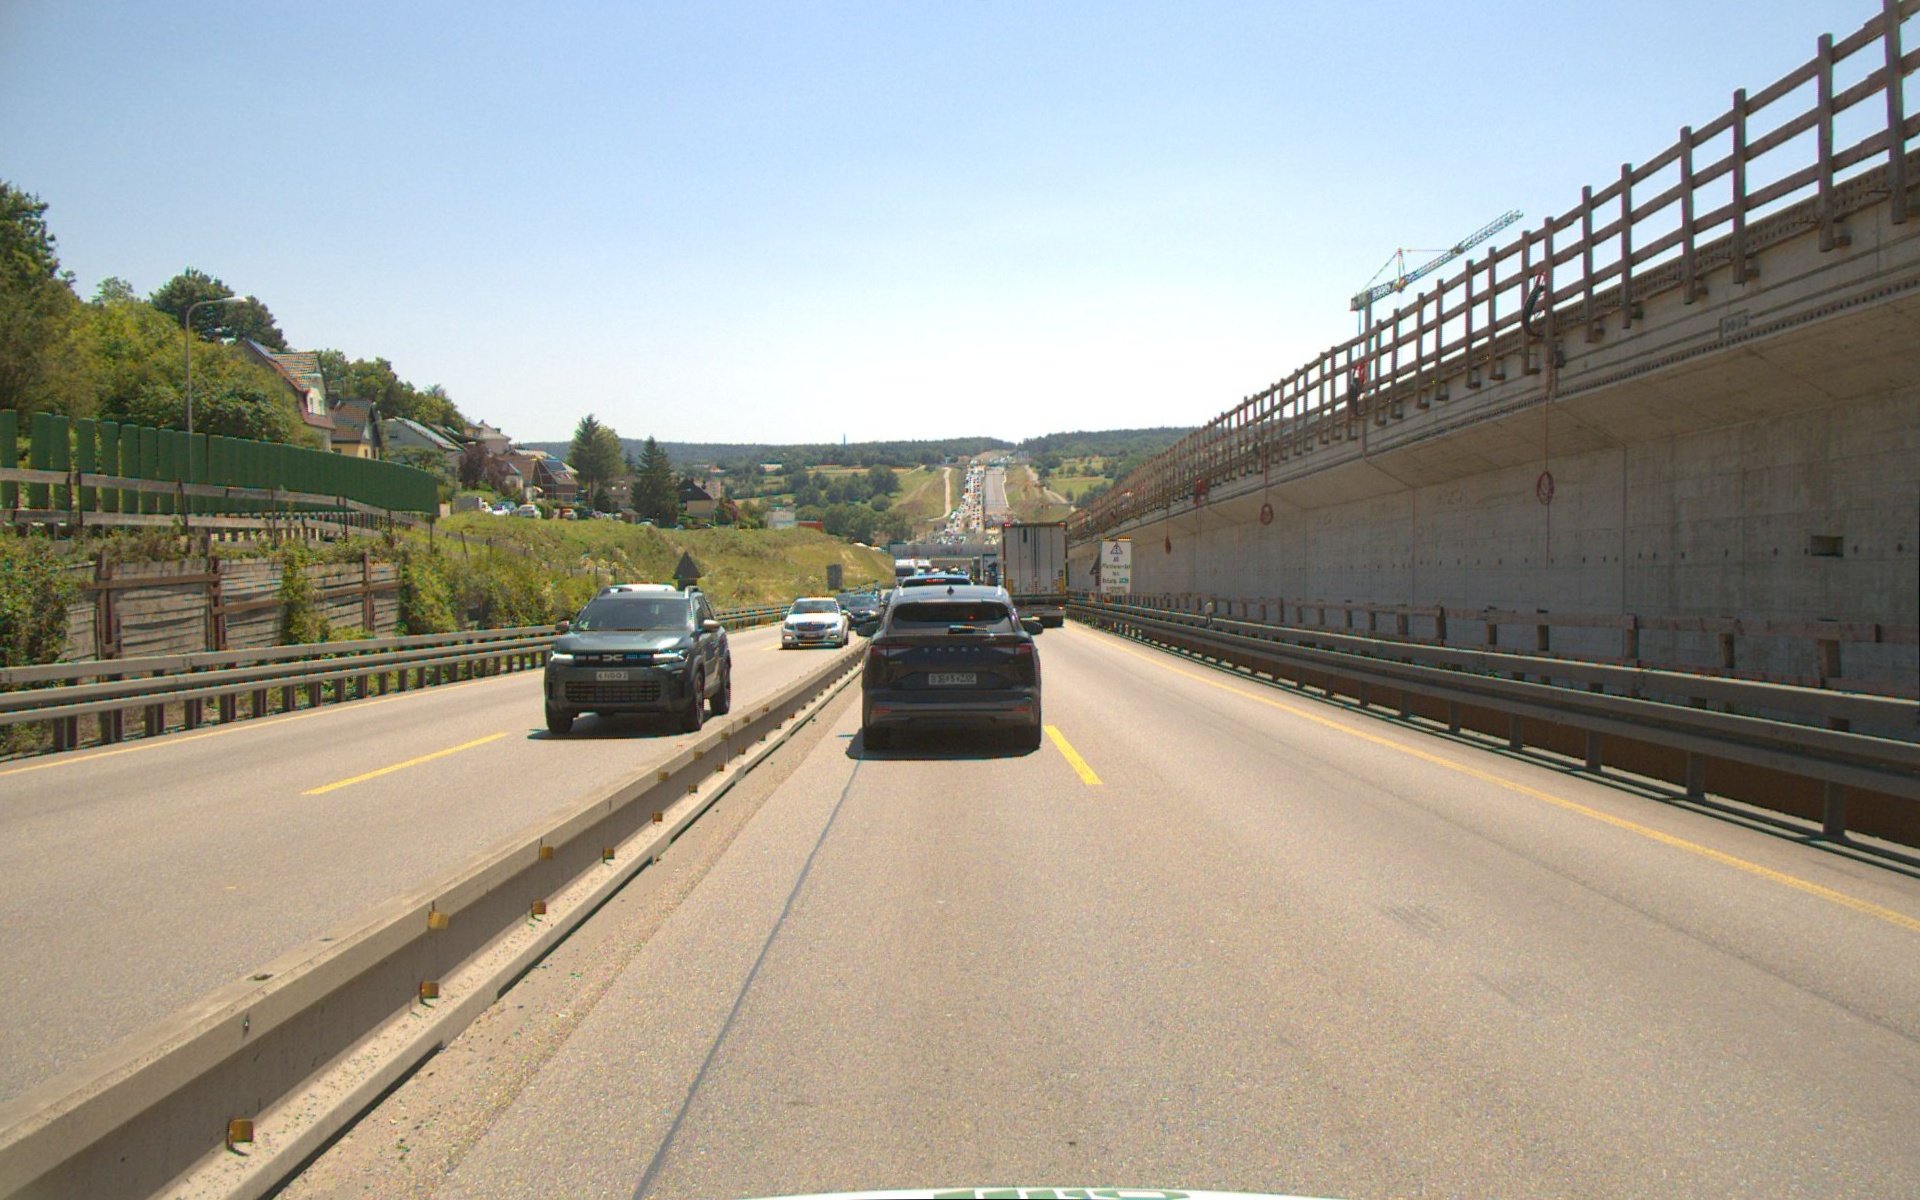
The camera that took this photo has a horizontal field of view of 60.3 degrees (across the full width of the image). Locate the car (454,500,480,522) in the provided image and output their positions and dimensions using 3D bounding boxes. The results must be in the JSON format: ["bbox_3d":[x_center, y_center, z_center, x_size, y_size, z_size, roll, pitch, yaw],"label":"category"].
[{"bbox_3d":[-36.836,-6.593,123.442,1.701,1.422,3.781,0,0,-19],"label":"car"}]

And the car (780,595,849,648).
[{"bbox_3d":[-4.202,0.606,48.243,1.697,1.463,4.257,0,0,-1],"label":"car"}]

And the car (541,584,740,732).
[{"bbox_3d":[-3.868,0.649,20.672,1.738,1.662,4.099,0,0,-1],"label":"car"}]

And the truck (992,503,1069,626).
[{"bbox_3d":[2.825,-1.333,69.403,2.787,4.696,11.811,-1,0,0],"label":"truck"}]

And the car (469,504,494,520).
[{"bbox_3d":[-36.994,-6.831,127.896,1.255,1.057,3.271,-2,0,-6],"label":"car"}]

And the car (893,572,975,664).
[{"bbox_3d":[-0.623,0.382,36.994,1.714,1.928,3.753,1,0,-2],"label":"car"}]

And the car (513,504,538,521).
[{"bbox_3d":[-40.665,-8.164,154.926,1.958,1.343,3.990,2,0,-11],"label":"car"}]

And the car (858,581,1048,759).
[{"bbox_3d":[-0.101,0.651,17.384,1.746,1.625,3.754,-1,0,-1],"label":"car"}]

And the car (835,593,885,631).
[{"bbox_3d":[-4.187,0.522,70.034,1.573,1.471,4.671,-4,-1,2],"label":"car"}]

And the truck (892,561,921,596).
[{"bbox_3d":[-6.813,-2.712,210.173,3.120,4.312,6.474,-1,0,-7],"label":"truck"}]

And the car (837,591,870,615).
[{"bbox_3d":[-6.597,0.193,102.759,1.777,1.473,5.005,0,0,-1],"label":"car"}]

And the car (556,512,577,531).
[{"bbox_3d":[-41.482,-8.275,174.549,1.890,1.758,3.990,-1,0,-10],"label":"car"}]

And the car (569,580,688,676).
[{"bbox_3d":[-6.969,0.573,35.213,1.564,1.866,4.752,-1,0,0],"label":"car"}]

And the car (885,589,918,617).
[{"bbox_3d":[-3.428,0.191,97.674,1.805,1.557,4.293,-1,0,-1],"label":"car"}]
